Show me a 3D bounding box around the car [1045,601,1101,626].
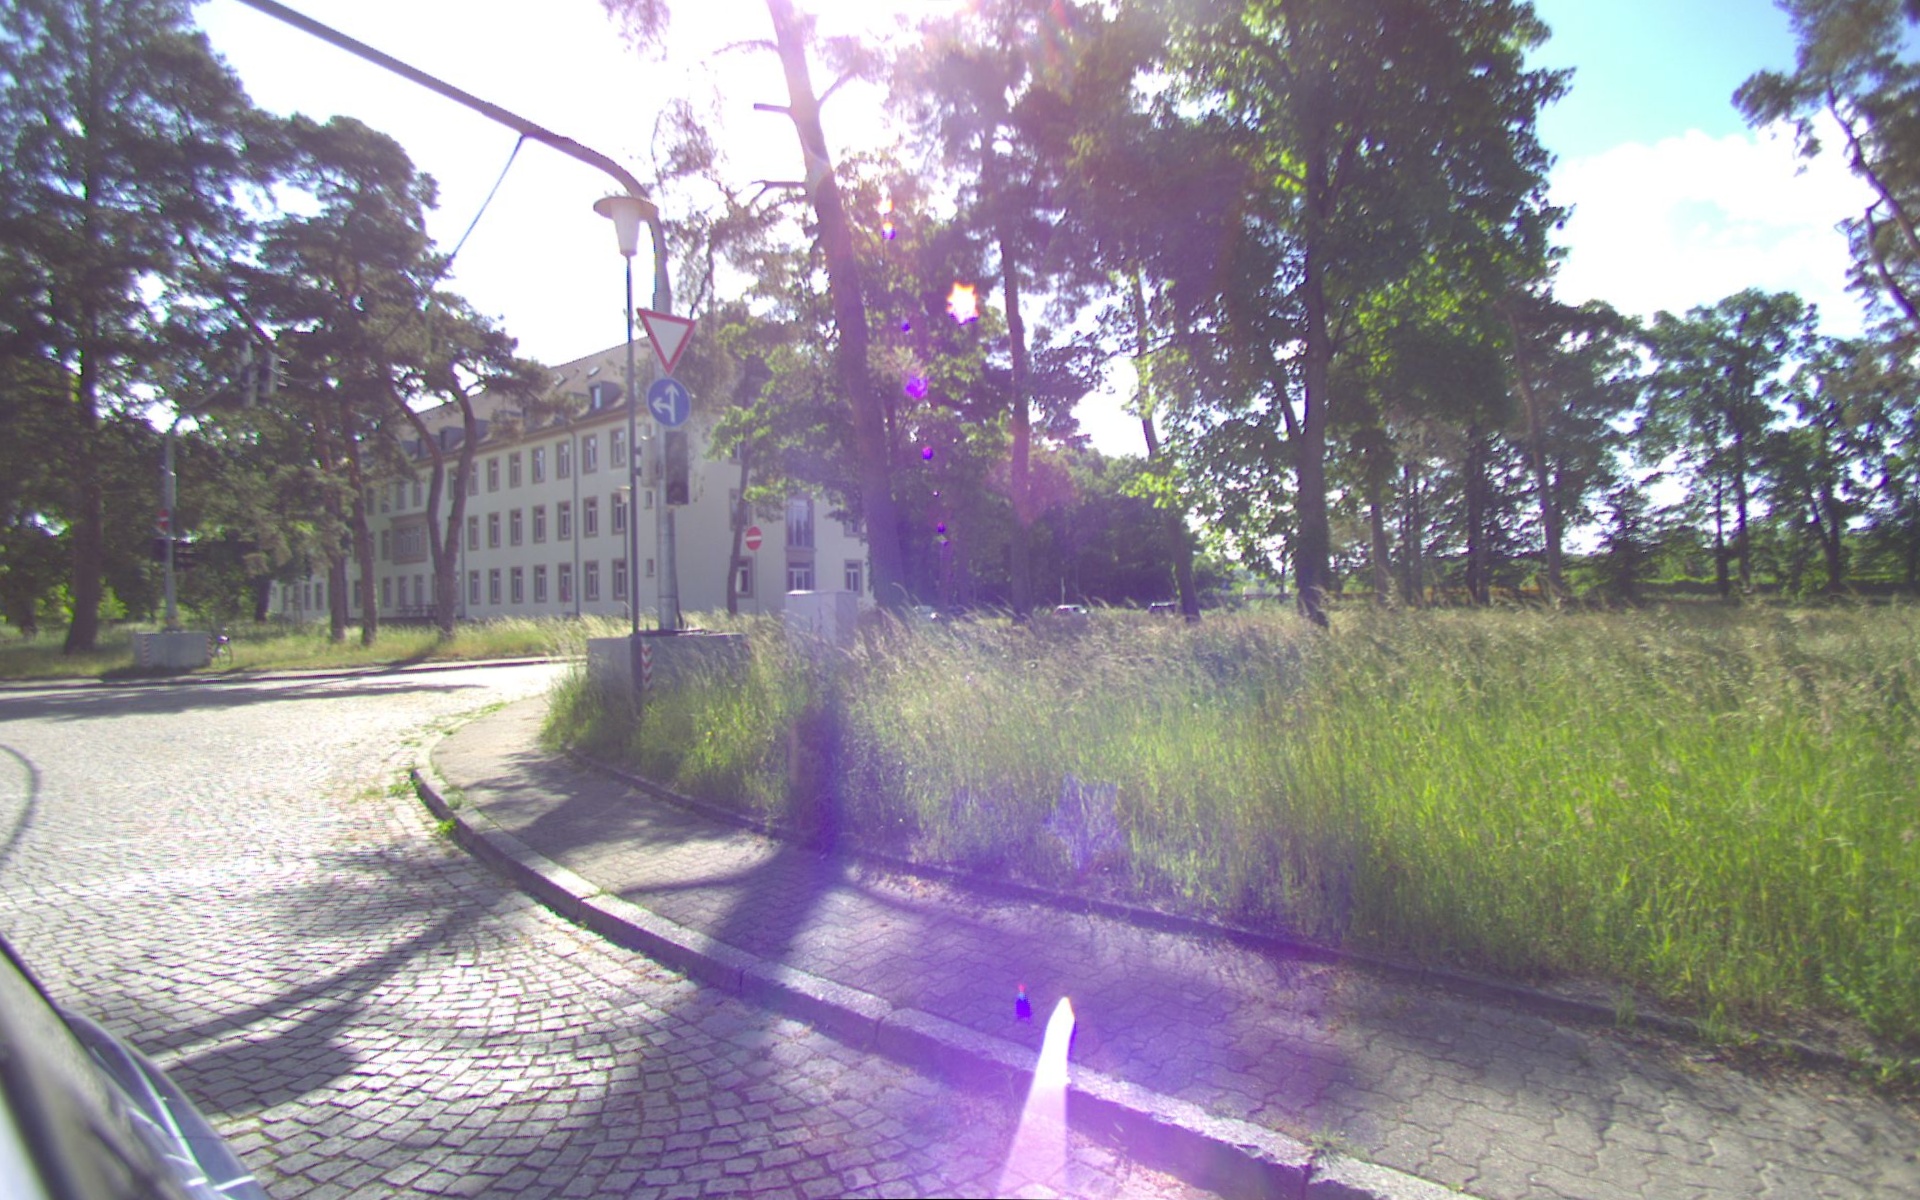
[{"bbox_3d":[7.722,0.905,68.813,1.720,1.592,4.052,-1,-1,42],"label":"car"}]

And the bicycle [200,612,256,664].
[{"bbox_3d":[-19.568,1.003,27.054,2.112,1.293,0.613,-2,2,39],"label":"bicycle"}]

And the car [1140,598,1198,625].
[{"bbox_3d":[13.124,0.737,63.447,1.840,1.642,4.003,-1,-1,42],"label":"car"}]
